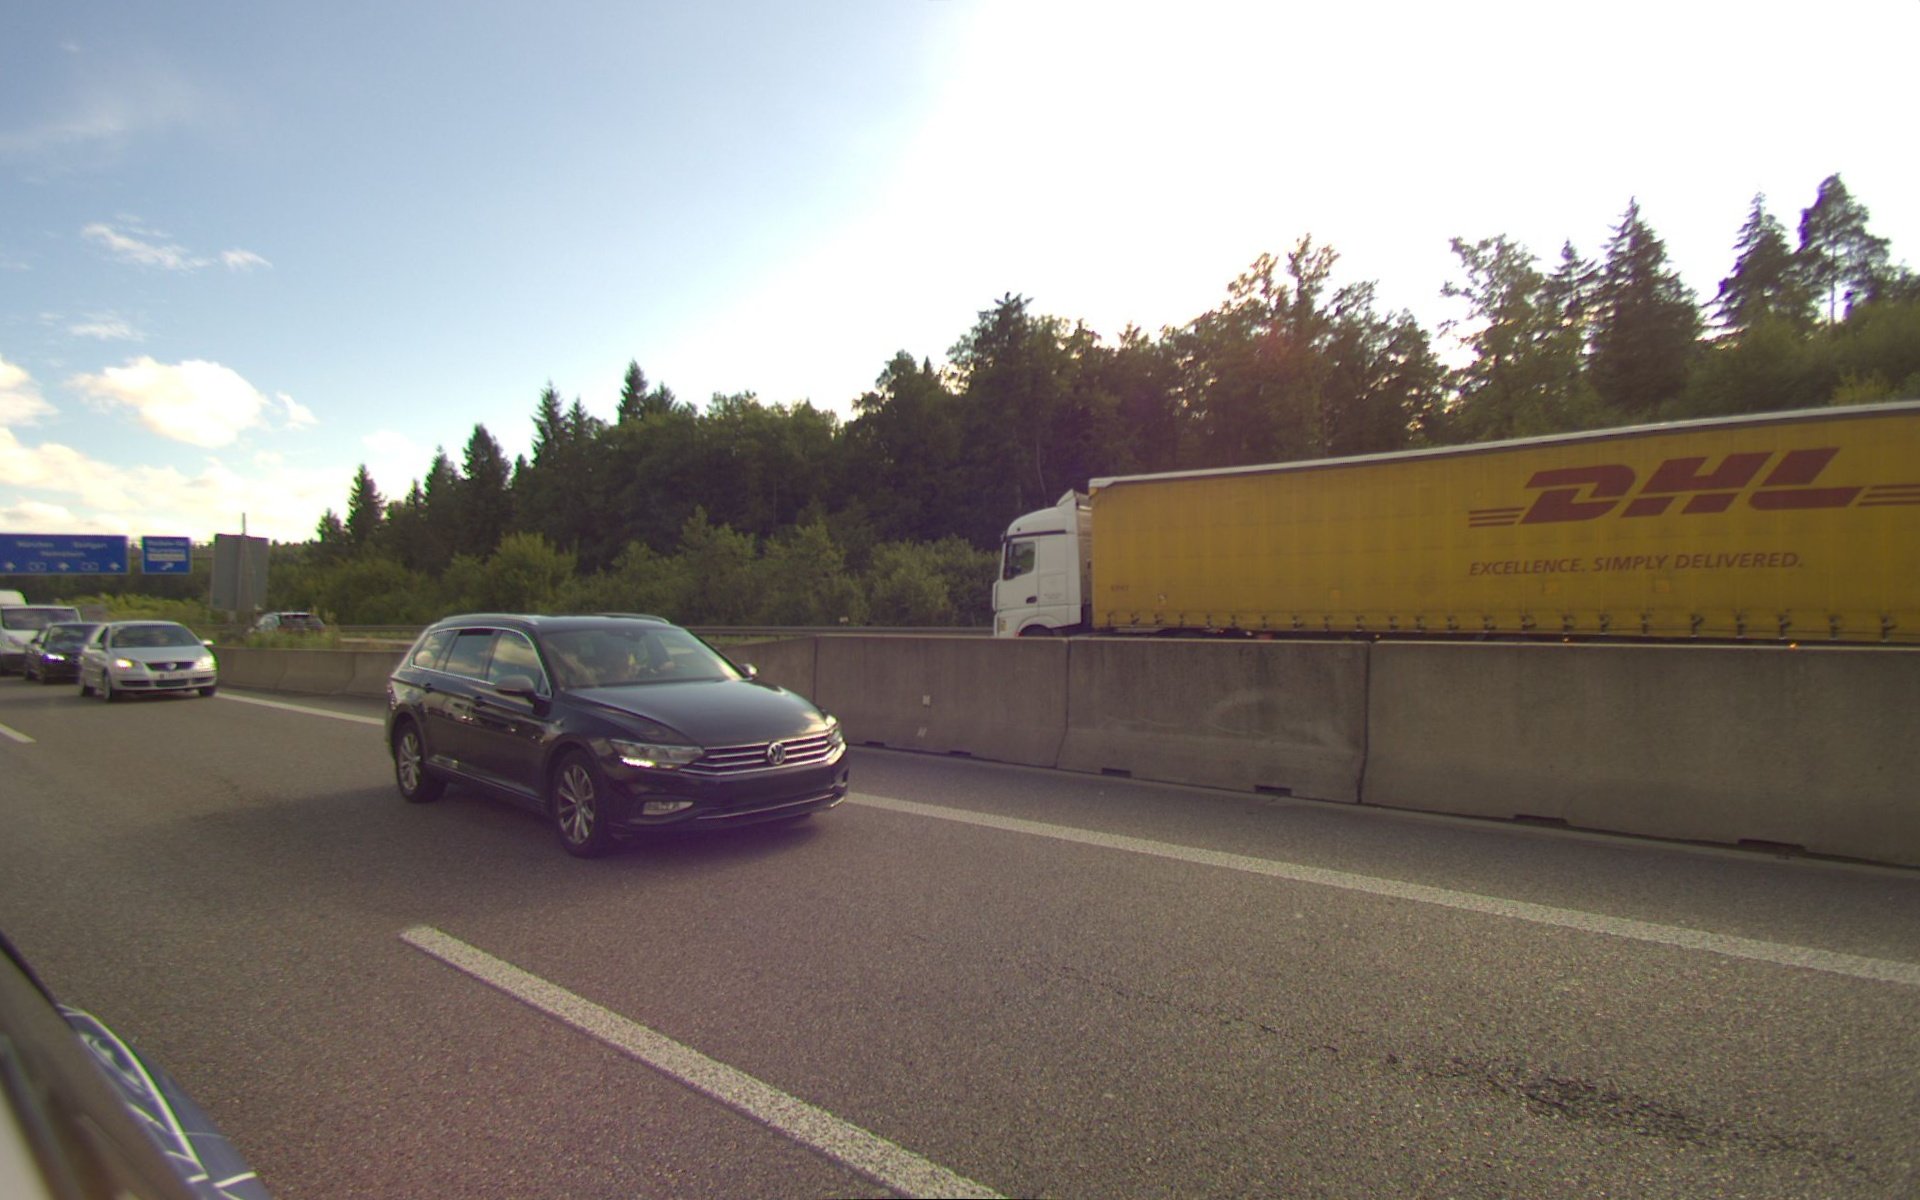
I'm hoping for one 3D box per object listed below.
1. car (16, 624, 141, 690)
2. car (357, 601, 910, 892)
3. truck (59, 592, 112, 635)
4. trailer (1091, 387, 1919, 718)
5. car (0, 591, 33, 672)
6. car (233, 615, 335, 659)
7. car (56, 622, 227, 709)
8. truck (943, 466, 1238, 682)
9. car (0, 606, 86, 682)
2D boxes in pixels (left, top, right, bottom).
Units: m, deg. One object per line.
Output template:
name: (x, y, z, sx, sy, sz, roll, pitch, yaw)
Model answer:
car: (-21.701, 1.333, 24.864, 3.991, 1.442, 1.786, -1, -1, 41)
car: (-2.640, 0.795, 7.445, 4.568, 1.488, 1.890, -1, -1, 43)
truck: (-92.052, 1.416, 106.436, 12.043, 4.234, 2.803, -1, 0, 43)
trailer: (8.799, -0.562, 17.786, 13.553, 4.234, 2.805, -1, 0, 40)
car: (-32.907, 1.048, 33.929, 5.858, 2.592, 2.028, -1, -2, 41)
car: (-24.175, 1.287, 36.152, 4.317, 1.442, 1.787, -1, -1, 38)
car: (-15.956, 1.187, 19.646, 4.663, 1.442, 1.786, -1, -1, 41)
truck: (2.820, -0.486, 22.889, 6.075, 4.234, 2.805, -1, 0, 40)
car: (-26.886, 1.221, 29.147, 4.845, 1.980, 1.922, -1, -1, 41)
